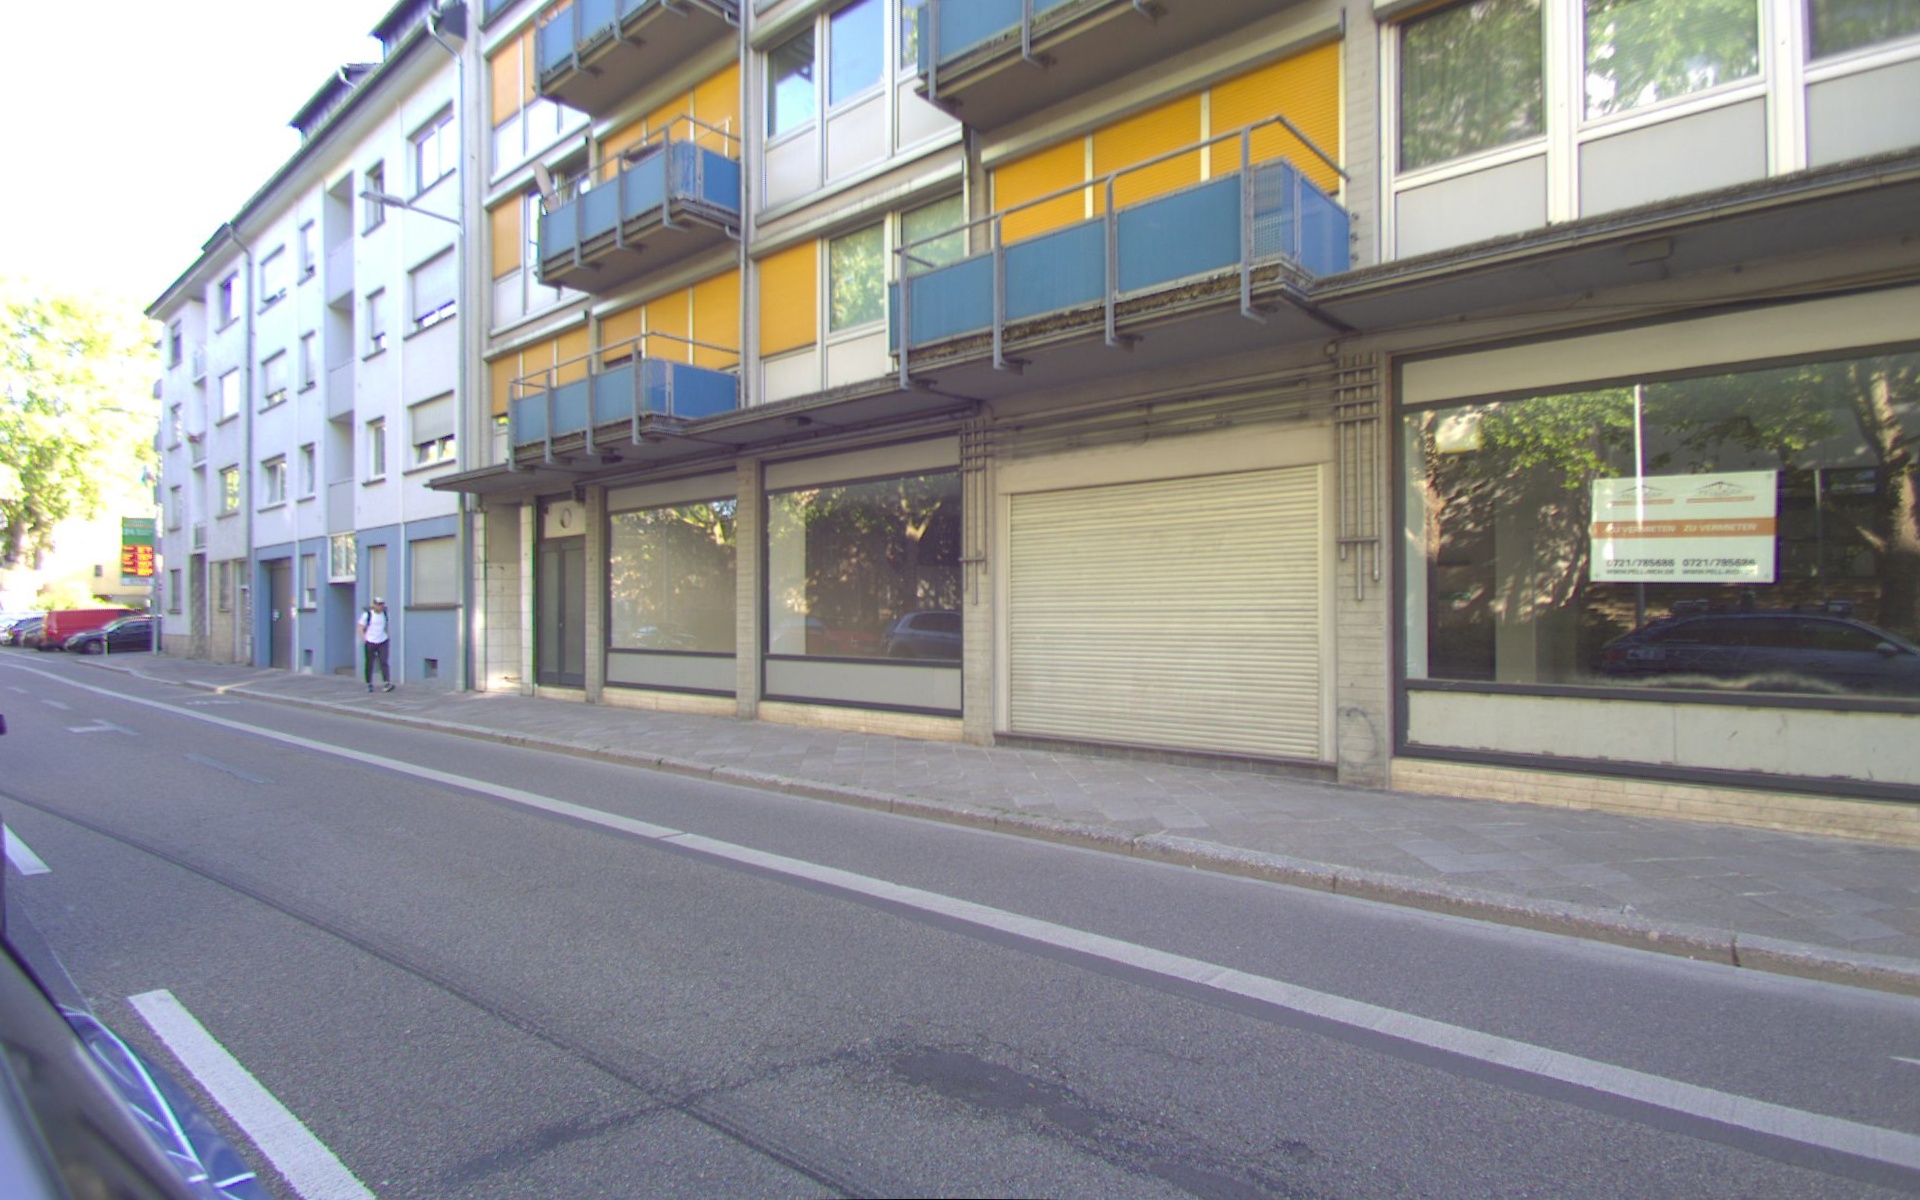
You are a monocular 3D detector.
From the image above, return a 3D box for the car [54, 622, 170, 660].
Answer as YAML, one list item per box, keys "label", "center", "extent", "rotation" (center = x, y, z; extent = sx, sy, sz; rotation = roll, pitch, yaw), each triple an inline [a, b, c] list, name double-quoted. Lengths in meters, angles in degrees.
- label: "car"
  center: [-36.663, 1.755, 43.812]
  extent: [1.635, 1.422, 3.623]
  rotation: [-1, 0, 41]

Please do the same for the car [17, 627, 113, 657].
- label: "car"
  center: [-42.969, 1.984, 48.634]
  extent: [1.294, 1.258, 3.283]
  rotation: [-1, 0, 41]

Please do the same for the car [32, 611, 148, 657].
- label: "car"
  center: [-40.631, 1.570, 47.331]
  extent: [1.635, 1.937, 3.878]
  rotation: [-1, 0, 41]

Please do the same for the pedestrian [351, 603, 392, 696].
- label: "pedestrian"
  center: [-11.249, 0.934, 19.356]
  extent: [0.343, 1.739, 0.562]
  rotation: [-2, 0, 41]
